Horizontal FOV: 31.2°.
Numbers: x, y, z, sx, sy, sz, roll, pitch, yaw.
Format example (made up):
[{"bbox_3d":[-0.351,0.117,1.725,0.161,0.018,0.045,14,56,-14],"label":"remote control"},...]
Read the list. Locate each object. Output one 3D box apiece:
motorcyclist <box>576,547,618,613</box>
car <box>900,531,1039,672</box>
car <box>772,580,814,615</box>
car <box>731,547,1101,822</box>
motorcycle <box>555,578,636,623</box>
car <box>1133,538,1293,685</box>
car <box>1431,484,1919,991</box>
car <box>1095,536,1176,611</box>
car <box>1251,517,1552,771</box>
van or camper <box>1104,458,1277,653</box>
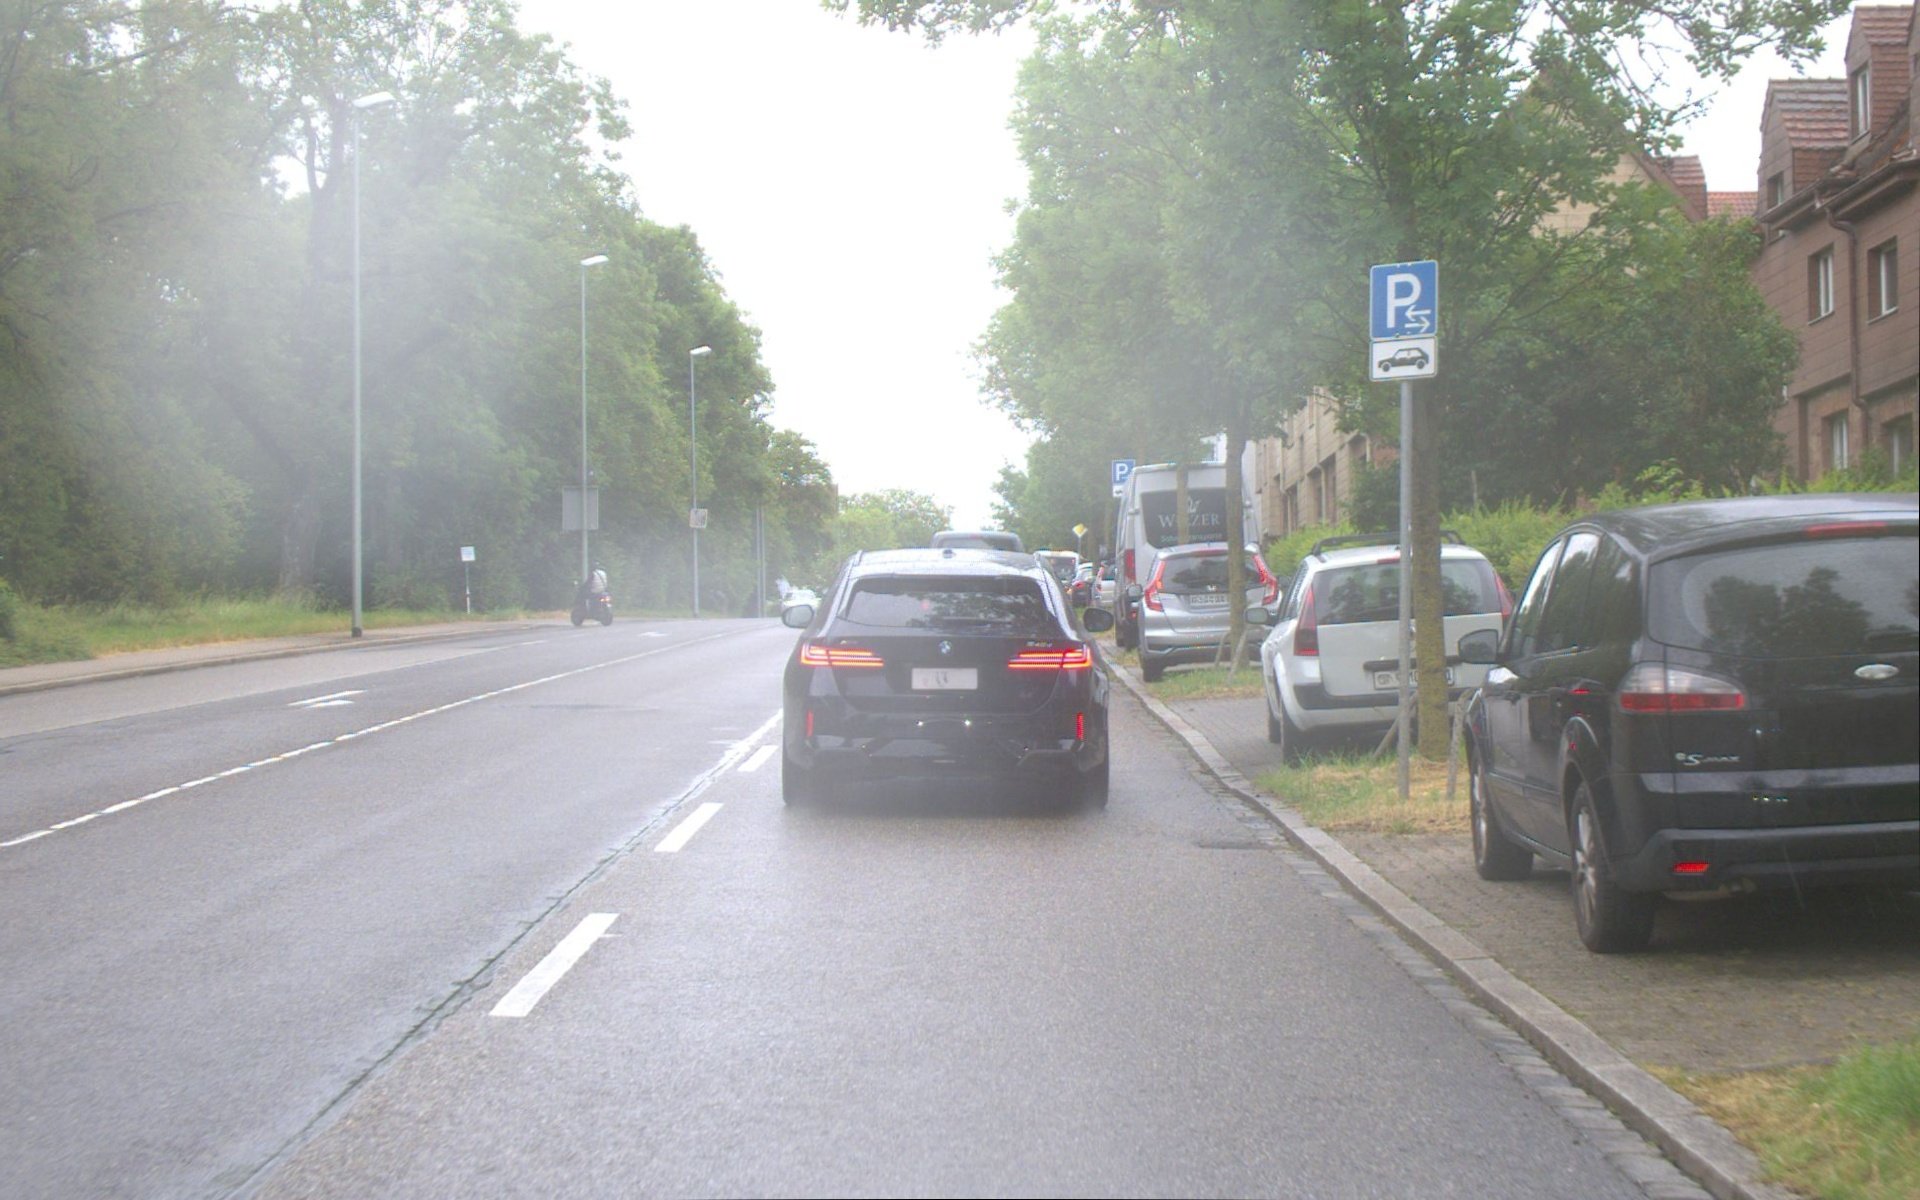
[{"bbox_3d":[-9.342,-0.521,88.490,0.651,1.675,0.811,2,1,42],"label":"motorcyclist"},{"bbox_3d":[0.183,0.016,51.175,1.993,2.007,4.000,0,0,1],"label":"car"},{"bbox_3d":[-7.521,-0.110,155.336,1.689,1.478,4.452,-2,0,-1],"label":"car"},{"bbox_3d":[-0.259,0.463,21.018,1.993,1.448,4.000,2,0,0],"label":"car"},{"bbox_3d":[-9.396,0.008,88.552,2.187,1.114,0.822,2,1,43],"label":"motorcycle"},{"bbox_3d":[2.898,0.100,39.766,1.668,1.523,3.831,-3,0,3],"label":"car"},{"bbox_3d":[3.146,0.410,13.878,1.824,1.672,4.584,-2,1,0],"label":"car"},{"bbox_3d":[4.037,-0.638,79.614,1.702,1.579,4.642,-4,1,2],"label":"car"},{"bbox_3d":[3.083,0.247,24.781,1.824,1.597,4.473,-2,1,4],"label":"car"},{"bbox_3d":[3.367,-0.682,51.540,2.198,2.642,7.301,-2,1,2],"label":"van or camper"}]
